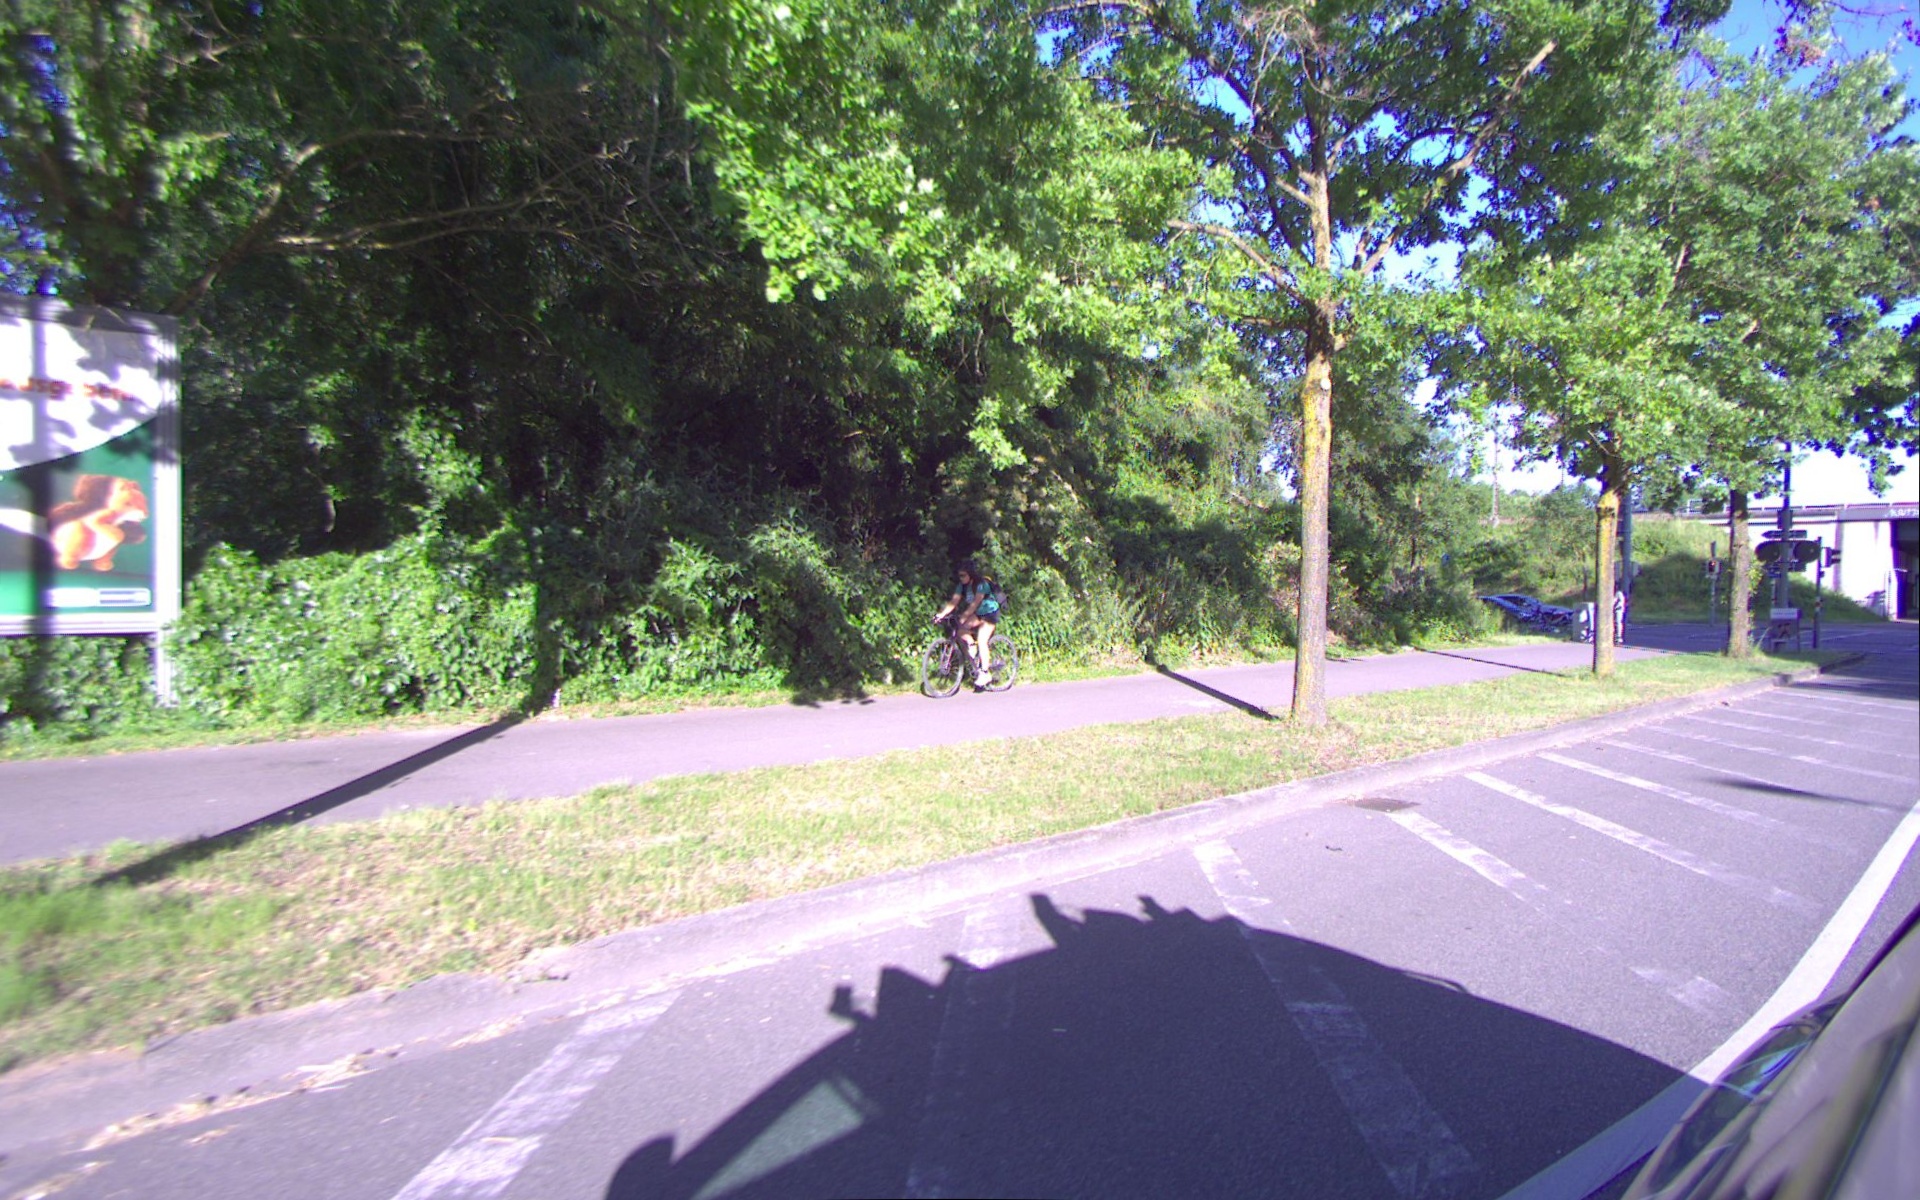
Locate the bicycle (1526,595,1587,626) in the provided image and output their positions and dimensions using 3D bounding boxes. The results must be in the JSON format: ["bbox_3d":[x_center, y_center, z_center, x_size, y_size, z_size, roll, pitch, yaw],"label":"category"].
[{"bbox_3d":[22.306,0.381,37.878,0.445,1.066,1.999,0,1,-29],"label":"bicycle"}]

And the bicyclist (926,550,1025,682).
[{"bbox_3d":[0.196,0.173,12.374,1.019,1.541,0.685,0,1,-45],"label":"bicyclist"}]

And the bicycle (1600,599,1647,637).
[{"bbox_3d":[18.306,0.478,27.913,2.011,1.004,0.572,0,1,-42],"label":"bicycle"}]

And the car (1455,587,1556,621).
[{"bbox_3d":[26.665,0.169,49.596,1.772,1.493,3.999,-2,3,-37],"label":"car"}]

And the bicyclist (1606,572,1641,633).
[{"bbox_3d":[18.178,0.052,27.722,0.850,1.630,0.566,0,1,-42],"label":"bicyclist"}]

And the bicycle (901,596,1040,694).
[{"bbox_3d":[0.160,0.511,12.380,1.905,1.086,0.516,-1,1,-45],"label":"bicycle"}]

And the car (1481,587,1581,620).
[{"bbox_3d":[28.717,0.121,50.985,1.783,1.493,4.000,-2,3,-36],"label":"car"}]

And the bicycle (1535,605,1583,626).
[{"bbox_3d":[20.980,0.530,35.477,0.830,0.629,2.187,3,2,14],"label":"bicycle"}]
